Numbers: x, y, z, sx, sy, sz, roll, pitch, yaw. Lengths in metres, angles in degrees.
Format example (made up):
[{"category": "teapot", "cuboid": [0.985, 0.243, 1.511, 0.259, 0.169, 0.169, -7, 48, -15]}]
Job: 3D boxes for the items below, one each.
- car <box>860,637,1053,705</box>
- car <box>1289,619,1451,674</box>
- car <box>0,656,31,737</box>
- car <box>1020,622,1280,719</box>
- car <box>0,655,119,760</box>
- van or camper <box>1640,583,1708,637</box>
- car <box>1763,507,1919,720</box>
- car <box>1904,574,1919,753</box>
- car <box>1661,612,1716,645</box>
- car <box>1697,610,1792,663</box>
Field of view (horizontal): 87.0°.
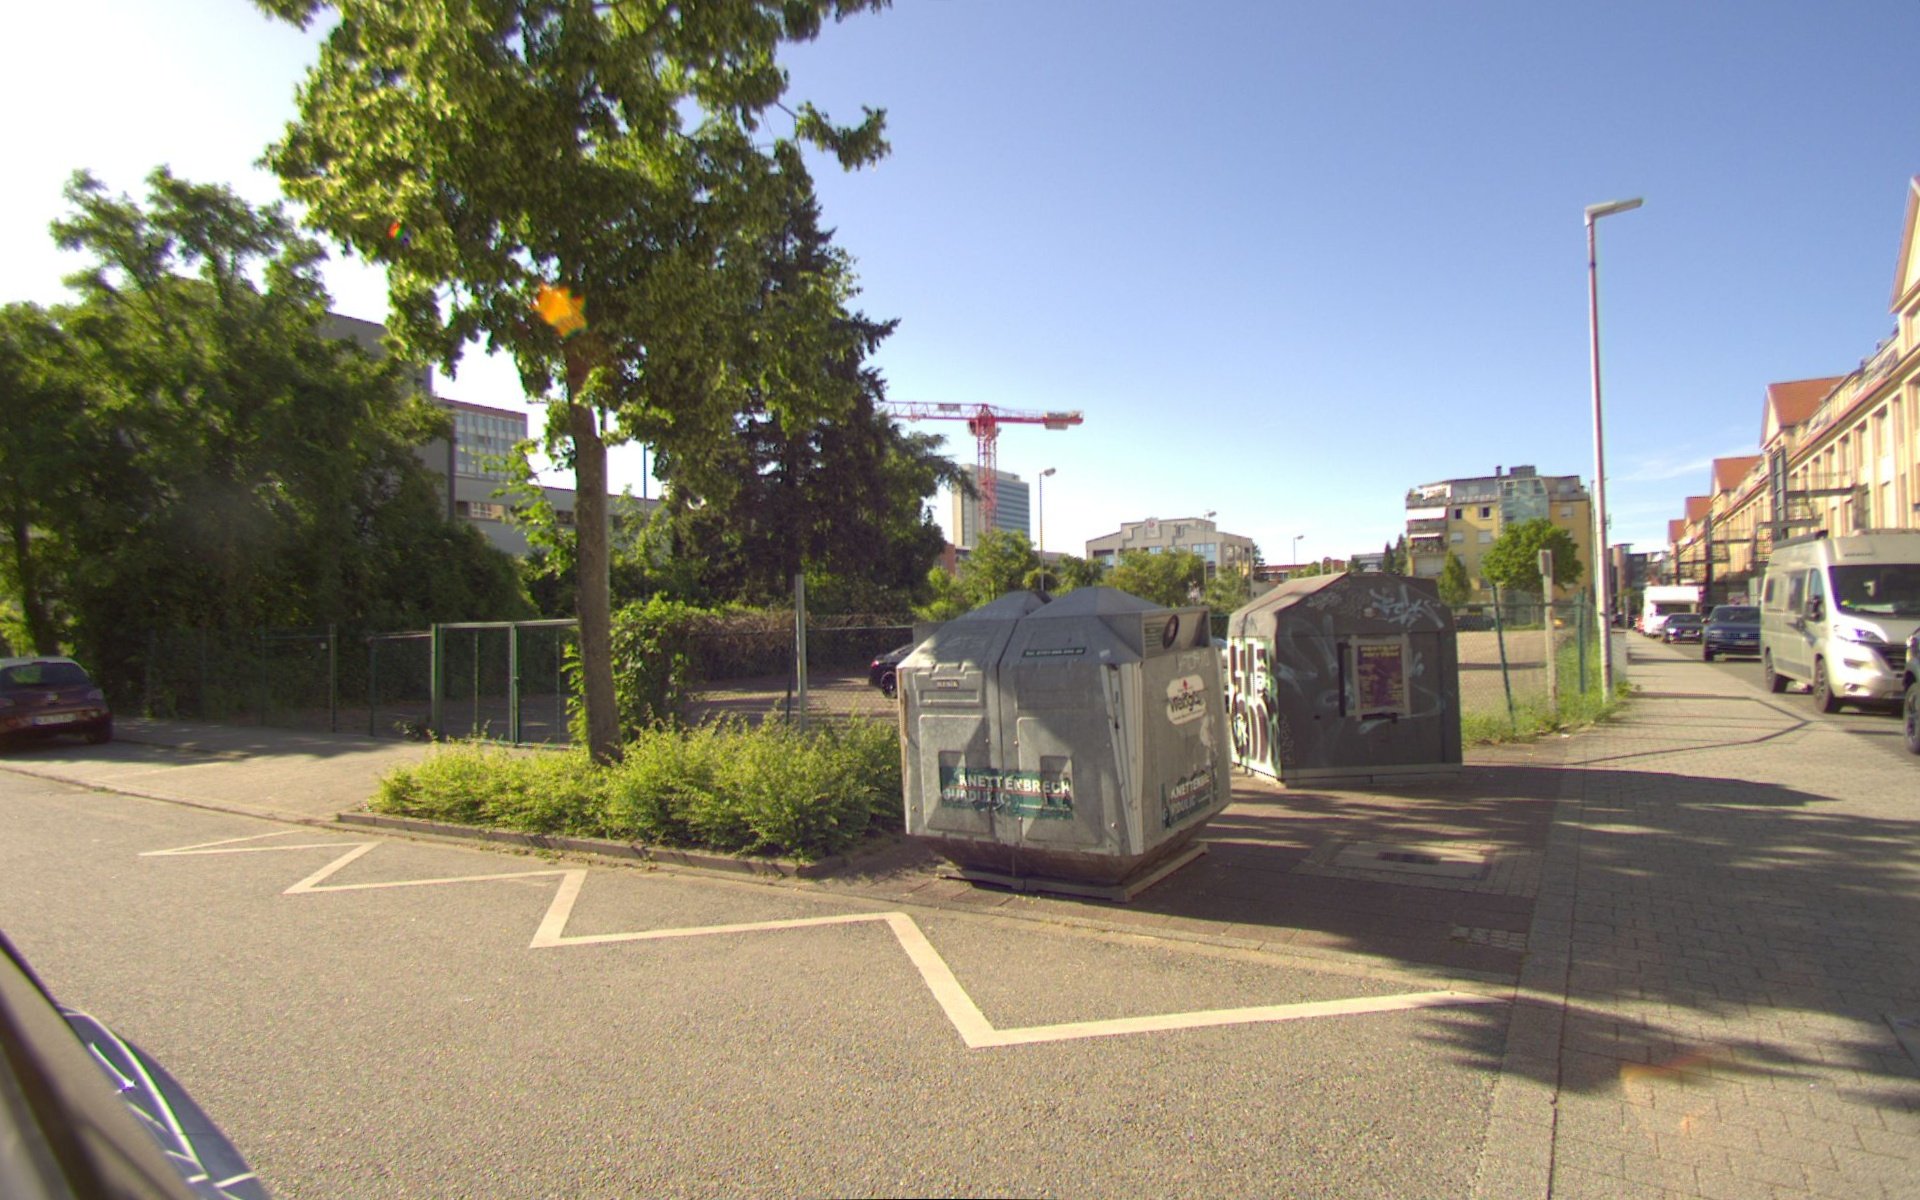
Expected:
[{"category": "car", "cuboid": [-0.135, 1.700, 24.525, 4.365, 1.467, 1.949, -3, -2, 36]}, {"category": "car", "cuboid": [12.482, 1.426, 30.916, 4.234, 1.572, 1.874, -3, -2, 36]}, {"category": "car", "cuboid": [-19.905, 1.887, 19.643, 3.990, 1.485, 1.826, -2, 0, 33]}, {"category": "car", "cuboid": [3.553, 1.303, 19.262, 4.417, 1.622, 1.976, -3, -2, 36]}, {"category": "car", "cuboid": [-15.642, 1.701, 16.641, 3.533, 1.485, 1.705, -2, 0, 31]}, {"category": "van or camper", "cuboid": [40.531, 0.580, 57.565, 2.715, 2.879, 5.079, -2, -1, 31]}, {"category": "car", "cuboid": [13.597, 0.196, 14.903, 2.159, 2.616, 6.212, -1, -1, 33]}, {"category": "car", "cuboid": [9.085, 0.567, 7.800, 1.995, 1.708, 4.055, -2, -2, 34]}, {"category": "car", "cuboid": [33.751, 1.300, 46.955, 1.846, 1.436, 4.177, -2, -2, 33]}, {"category": "car", "cuboid": [23.292, 1.055, 30.184, 1.846, 1.436, 4.177, -3, -2, 33]}]
